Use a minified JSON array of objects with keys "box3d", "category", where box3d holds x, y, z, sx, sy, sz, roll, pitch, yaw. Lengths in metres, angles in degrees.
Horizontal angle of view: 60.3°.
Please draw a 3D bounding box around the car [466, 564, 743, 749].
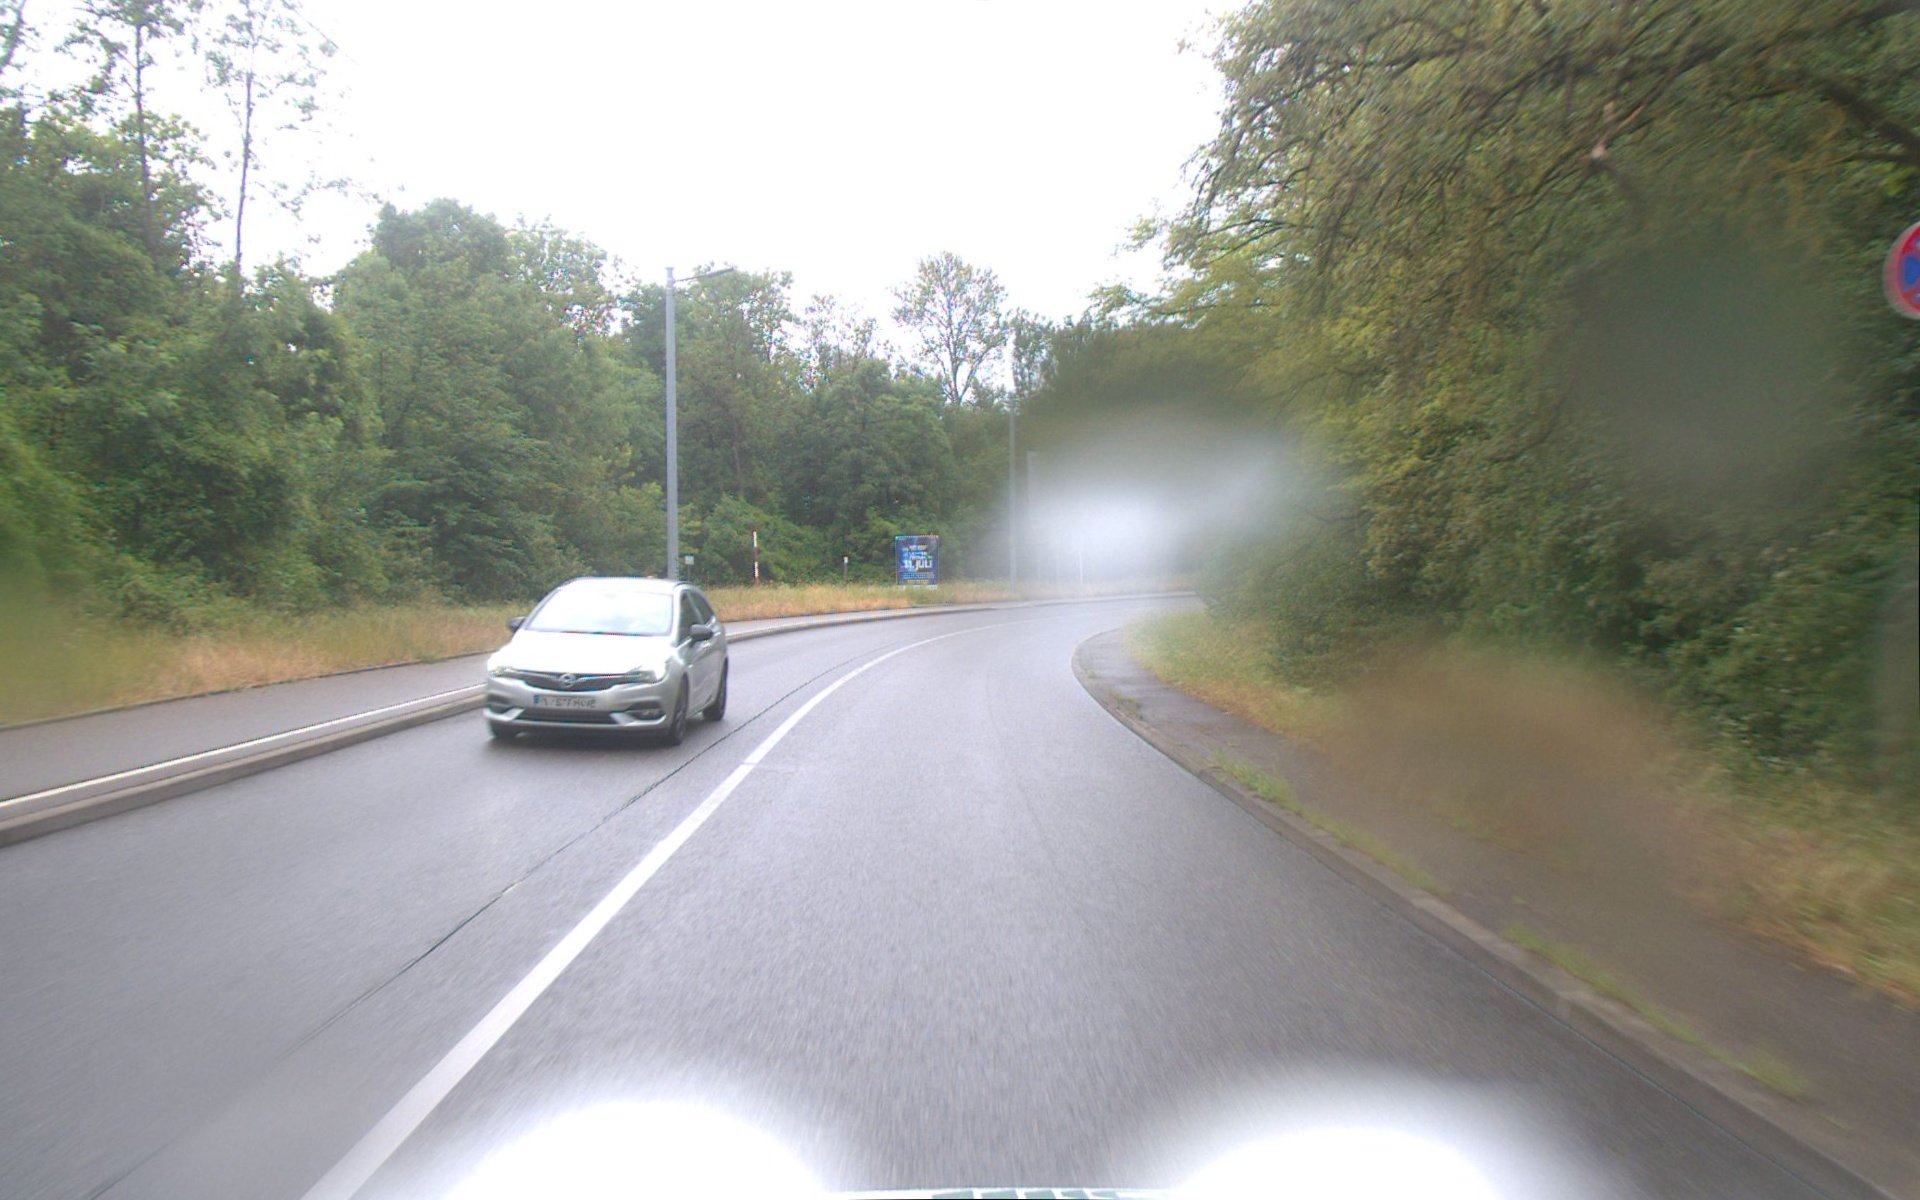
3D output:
[{"box3d":[-3.344,0.439,16.413,1.744,1.455,4.475,2,2,0],"category":"car"}]
